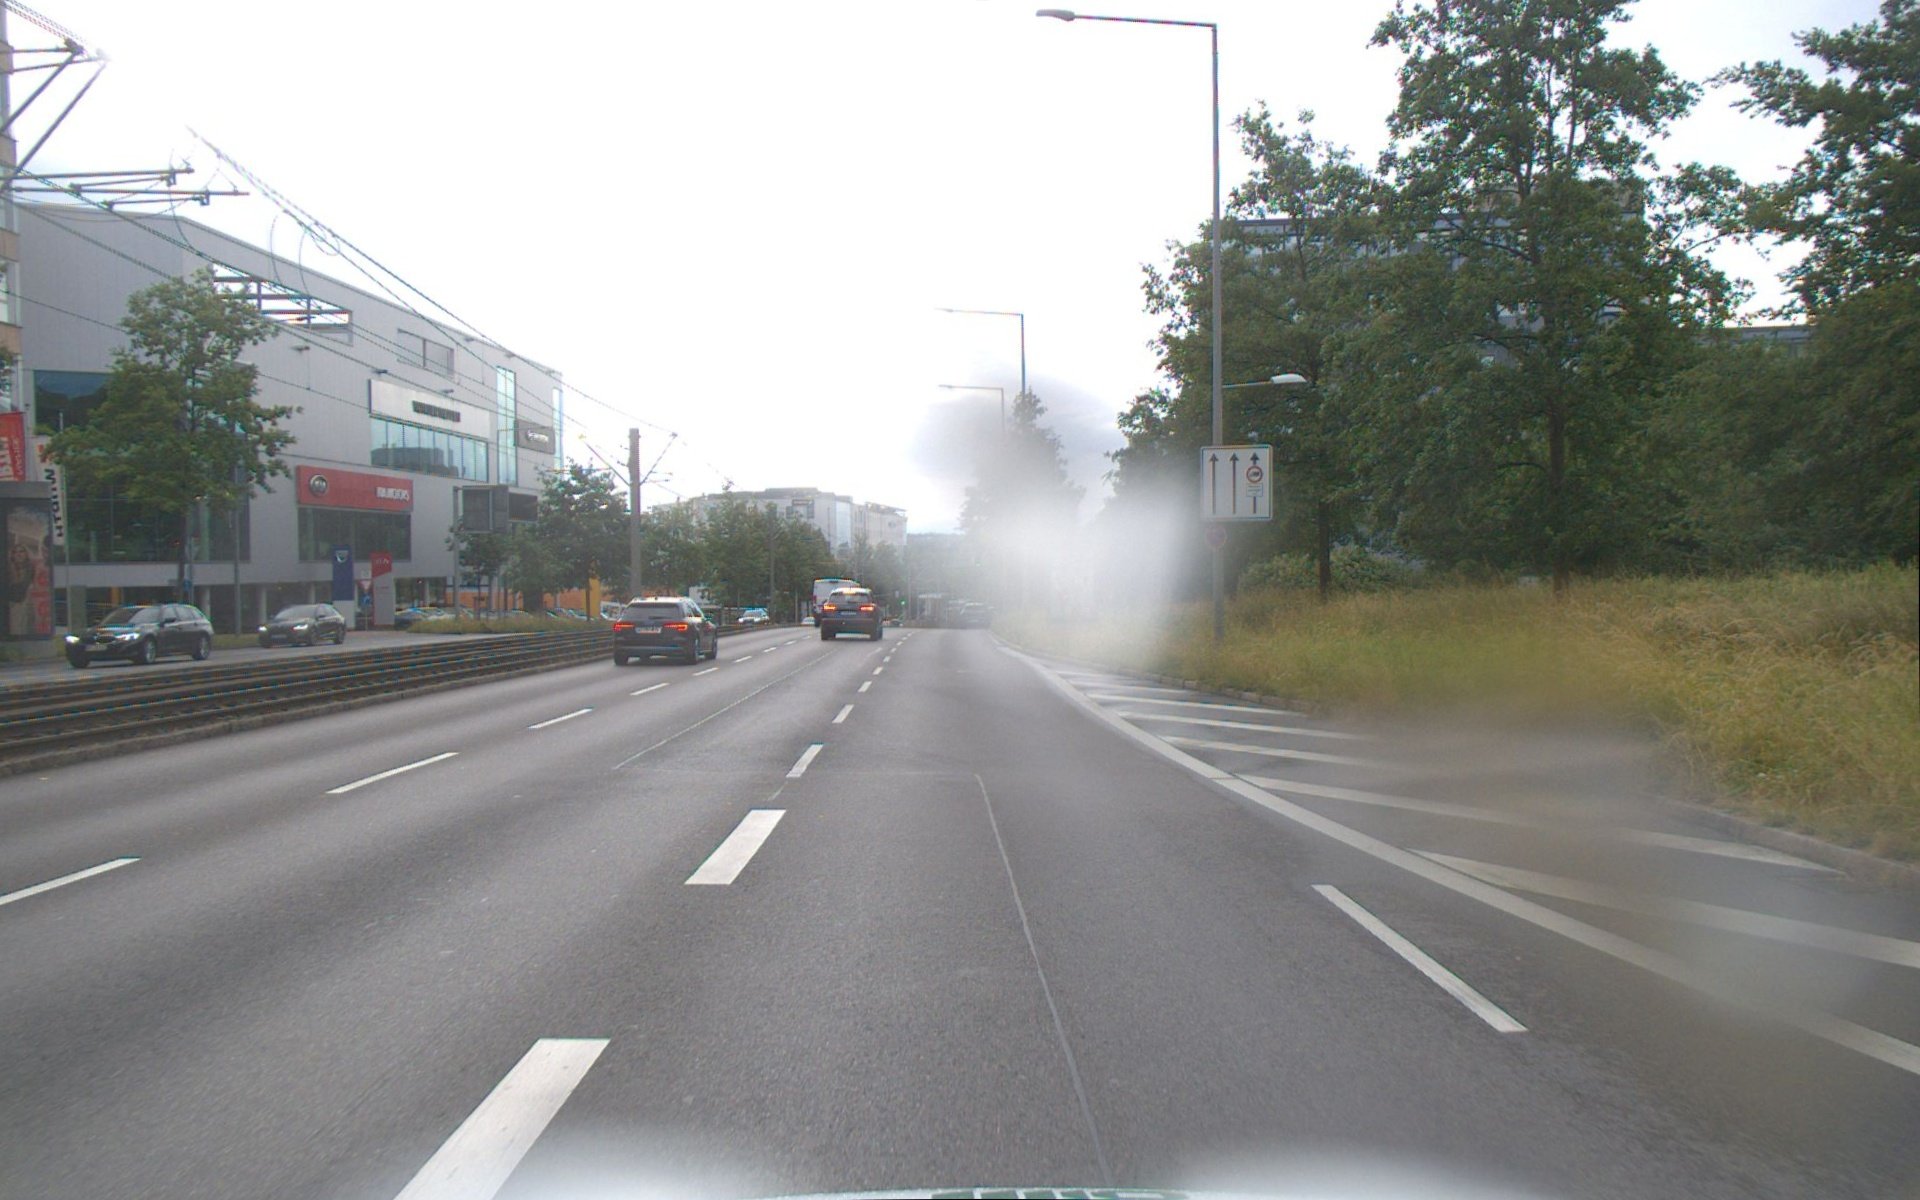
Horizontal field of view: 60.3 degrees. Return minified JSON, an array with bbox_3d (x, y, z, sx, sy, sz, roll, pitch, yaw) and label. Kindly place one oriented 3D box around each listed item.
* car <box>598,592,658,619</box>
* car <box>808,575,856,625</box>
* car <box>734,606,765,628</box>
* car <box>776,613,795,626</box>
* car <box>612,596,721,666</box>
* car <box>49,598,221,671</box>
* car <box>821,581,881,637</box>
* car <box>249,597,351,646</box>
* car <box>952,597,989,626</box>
[{"bbox_3d":[-30.315,0.513,151.115,5.206,2.353,2.015,1,-2,-10],"label":"car"},{"bbox_3d":[-6.248,-0.015,81.034,2.223,2.325,4.756,1,0,-4],"label":"car"},{"bbox_3d":[-16.105,1.318,126.494,1.623,1.577,4.001,1,-2,3],"label":"car"},{"bbox_3d":[-21.023,2.409,199.030,1.633,1.487,4.239,1,-2,2],"label":"car"},{"bbox_3d":[-6.427,0.638,36.693,1.750,1.438,4.803,1,0,-2],"label":"car"},{"bbox_3d":[-19.999,0.794,40.341,1.804,1.511,4.653,-4,1,-1],"label":"car"},{"bbox_3d":[-3.581,0.284,54.183,1.885,1.740,4.094,1,0,-4],"label":"car"},{"bbox_3d":[-23.260,0.729,58.456,1.804,1.511,4.429,-4,1,-1],"label":"car"},{"bbox_3d":[0.587,0.648,94.553,1.754,1.619,3.996,-1,0,-4],"label":"car"}]
